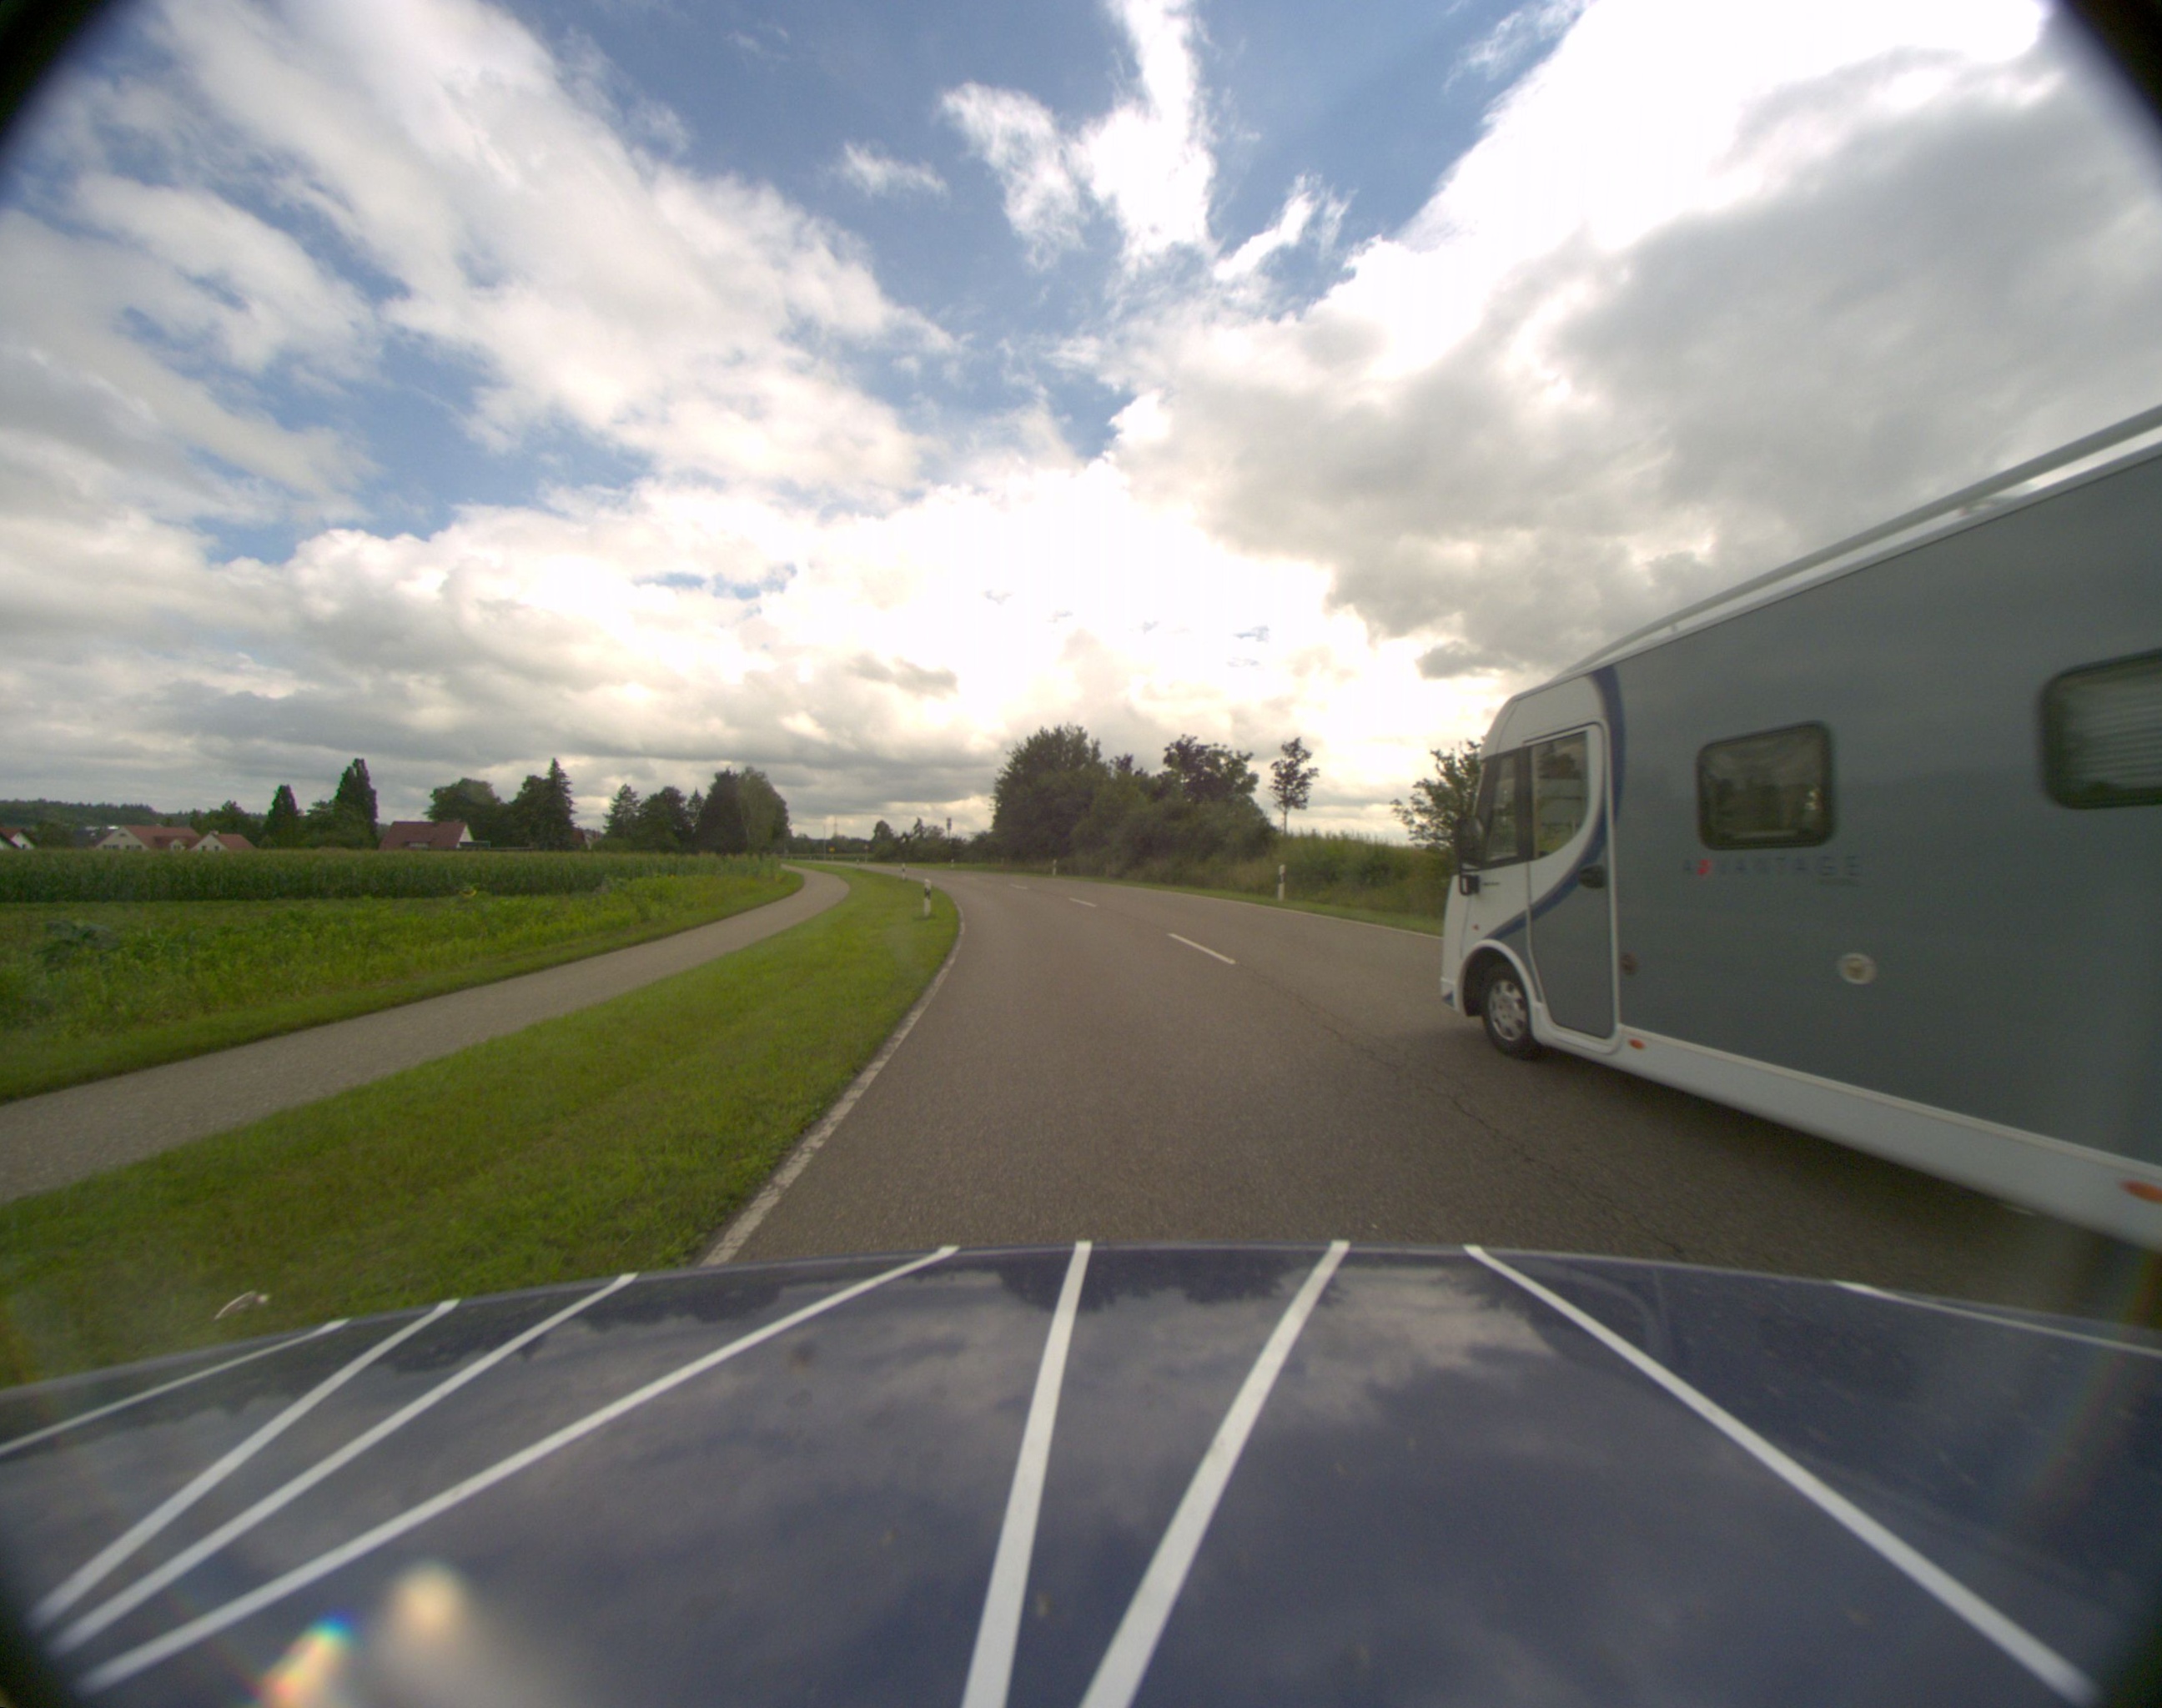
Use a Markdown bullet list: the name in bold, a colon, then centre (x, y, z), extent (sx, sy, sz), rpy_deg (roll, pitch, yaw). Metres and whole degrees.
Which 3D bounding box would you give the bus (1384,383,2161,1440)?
- **bus**: centre (3.986, 0.136, 2.518), extent (2.481, 2.695, 8.428), rpy_deg (-1, 0, -1)
